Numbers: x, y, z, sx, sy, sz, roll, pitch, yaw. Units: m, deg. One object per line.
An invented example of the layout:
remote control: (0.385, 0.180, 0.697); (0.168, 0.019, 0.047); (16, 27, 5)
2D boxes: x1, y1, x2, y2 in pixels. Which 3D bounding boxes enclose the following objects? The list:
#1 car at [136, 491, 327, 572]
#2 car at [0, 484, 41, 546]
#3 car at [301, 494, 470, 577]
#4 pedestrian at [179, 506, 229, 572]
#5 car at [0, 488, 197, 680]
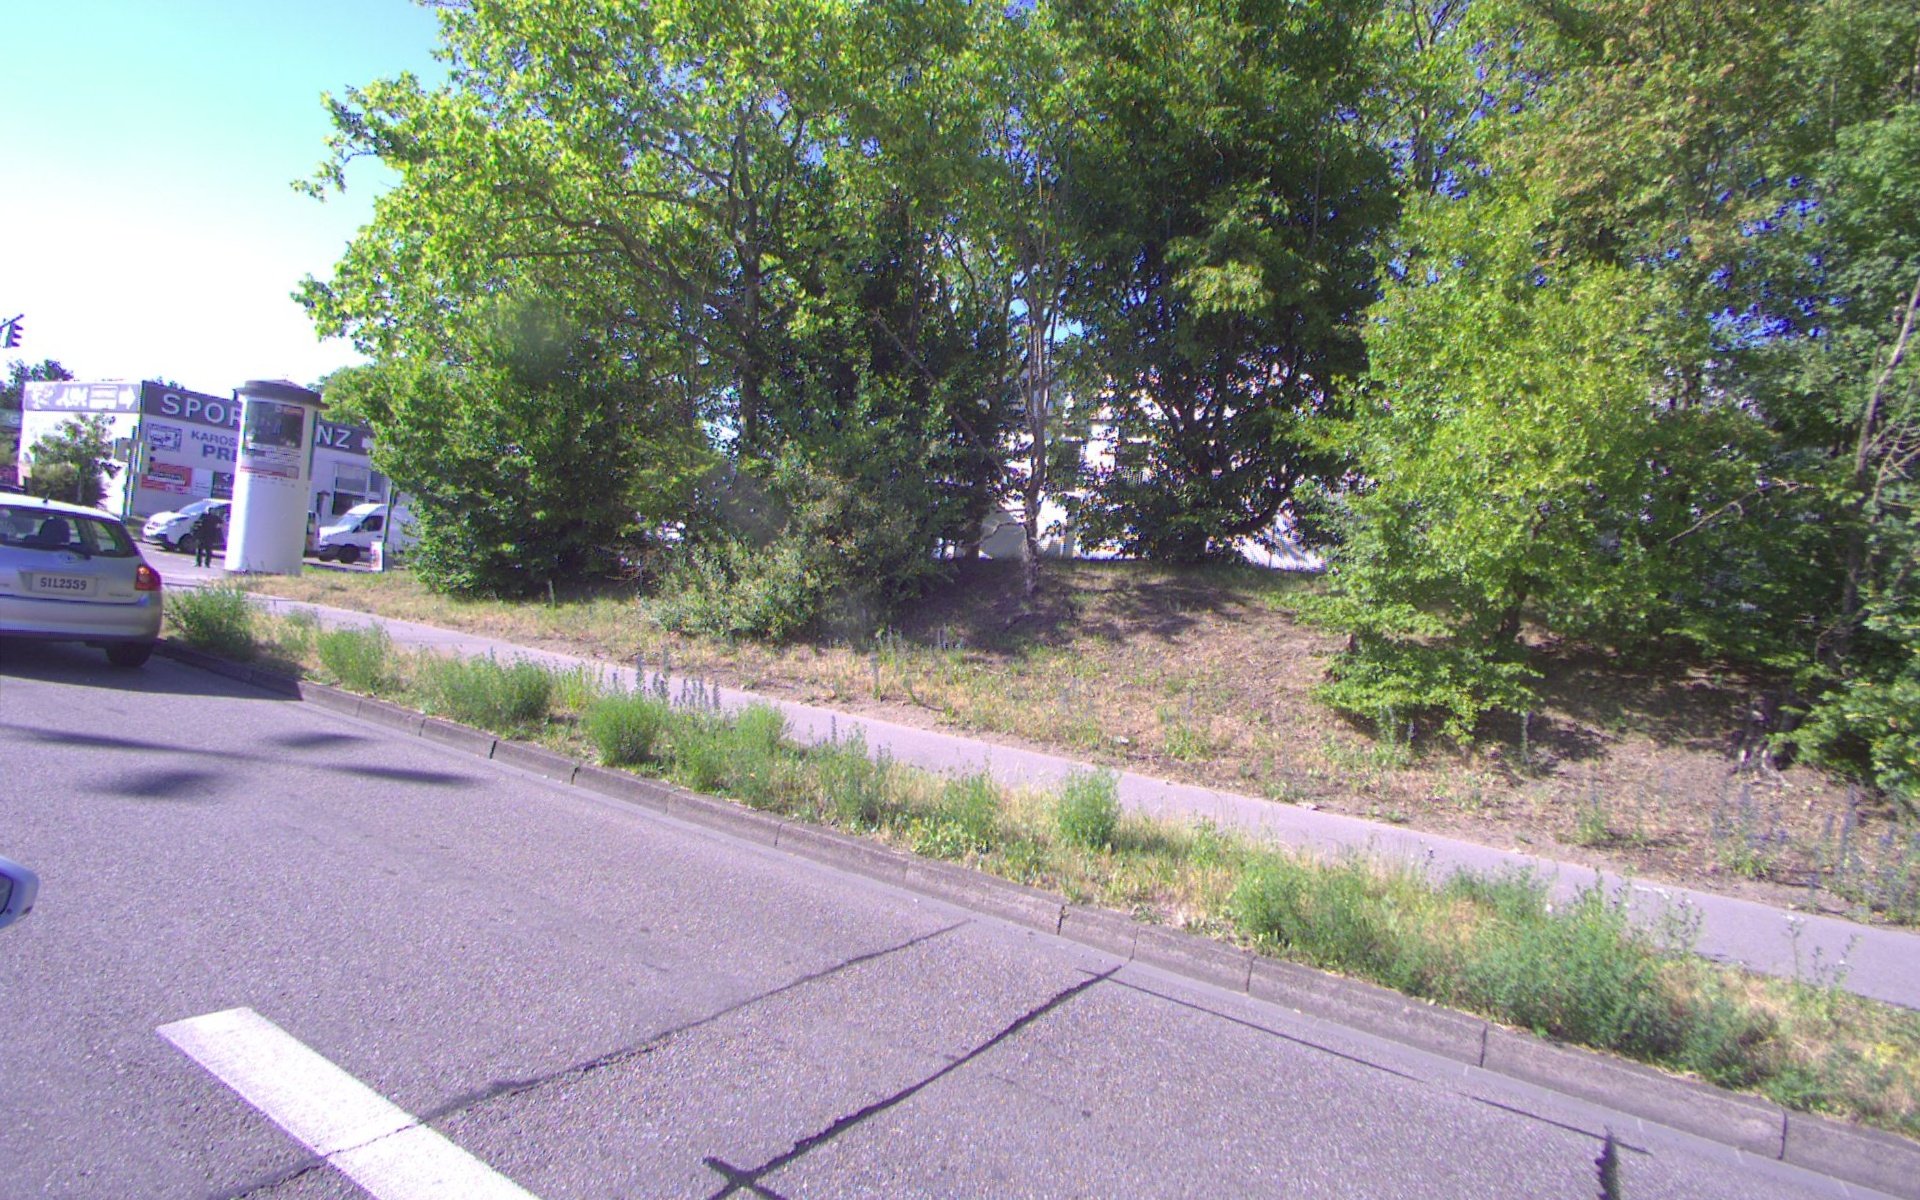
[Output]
car: (-25.301, -2.324, 35.165); (1.849, 2.060, 4.962); (7, -1, 30)
car: (-29.074, -2.703, 28.332); (1.611, 1.668, 4.316); (6, -2, 31)
car: (-24.260, -2.663, 42.778); (1.967, 2.706, 5.840); (6, 0, 32)
pedestrian: (-21.011, -1.693, 27.972); (0.506, 1.688, 0.818); (6, -1, 31)
car: (-9.515, -0.315, 9.859); (4.039, 1.555, 1.787); (7, -2, 32)
